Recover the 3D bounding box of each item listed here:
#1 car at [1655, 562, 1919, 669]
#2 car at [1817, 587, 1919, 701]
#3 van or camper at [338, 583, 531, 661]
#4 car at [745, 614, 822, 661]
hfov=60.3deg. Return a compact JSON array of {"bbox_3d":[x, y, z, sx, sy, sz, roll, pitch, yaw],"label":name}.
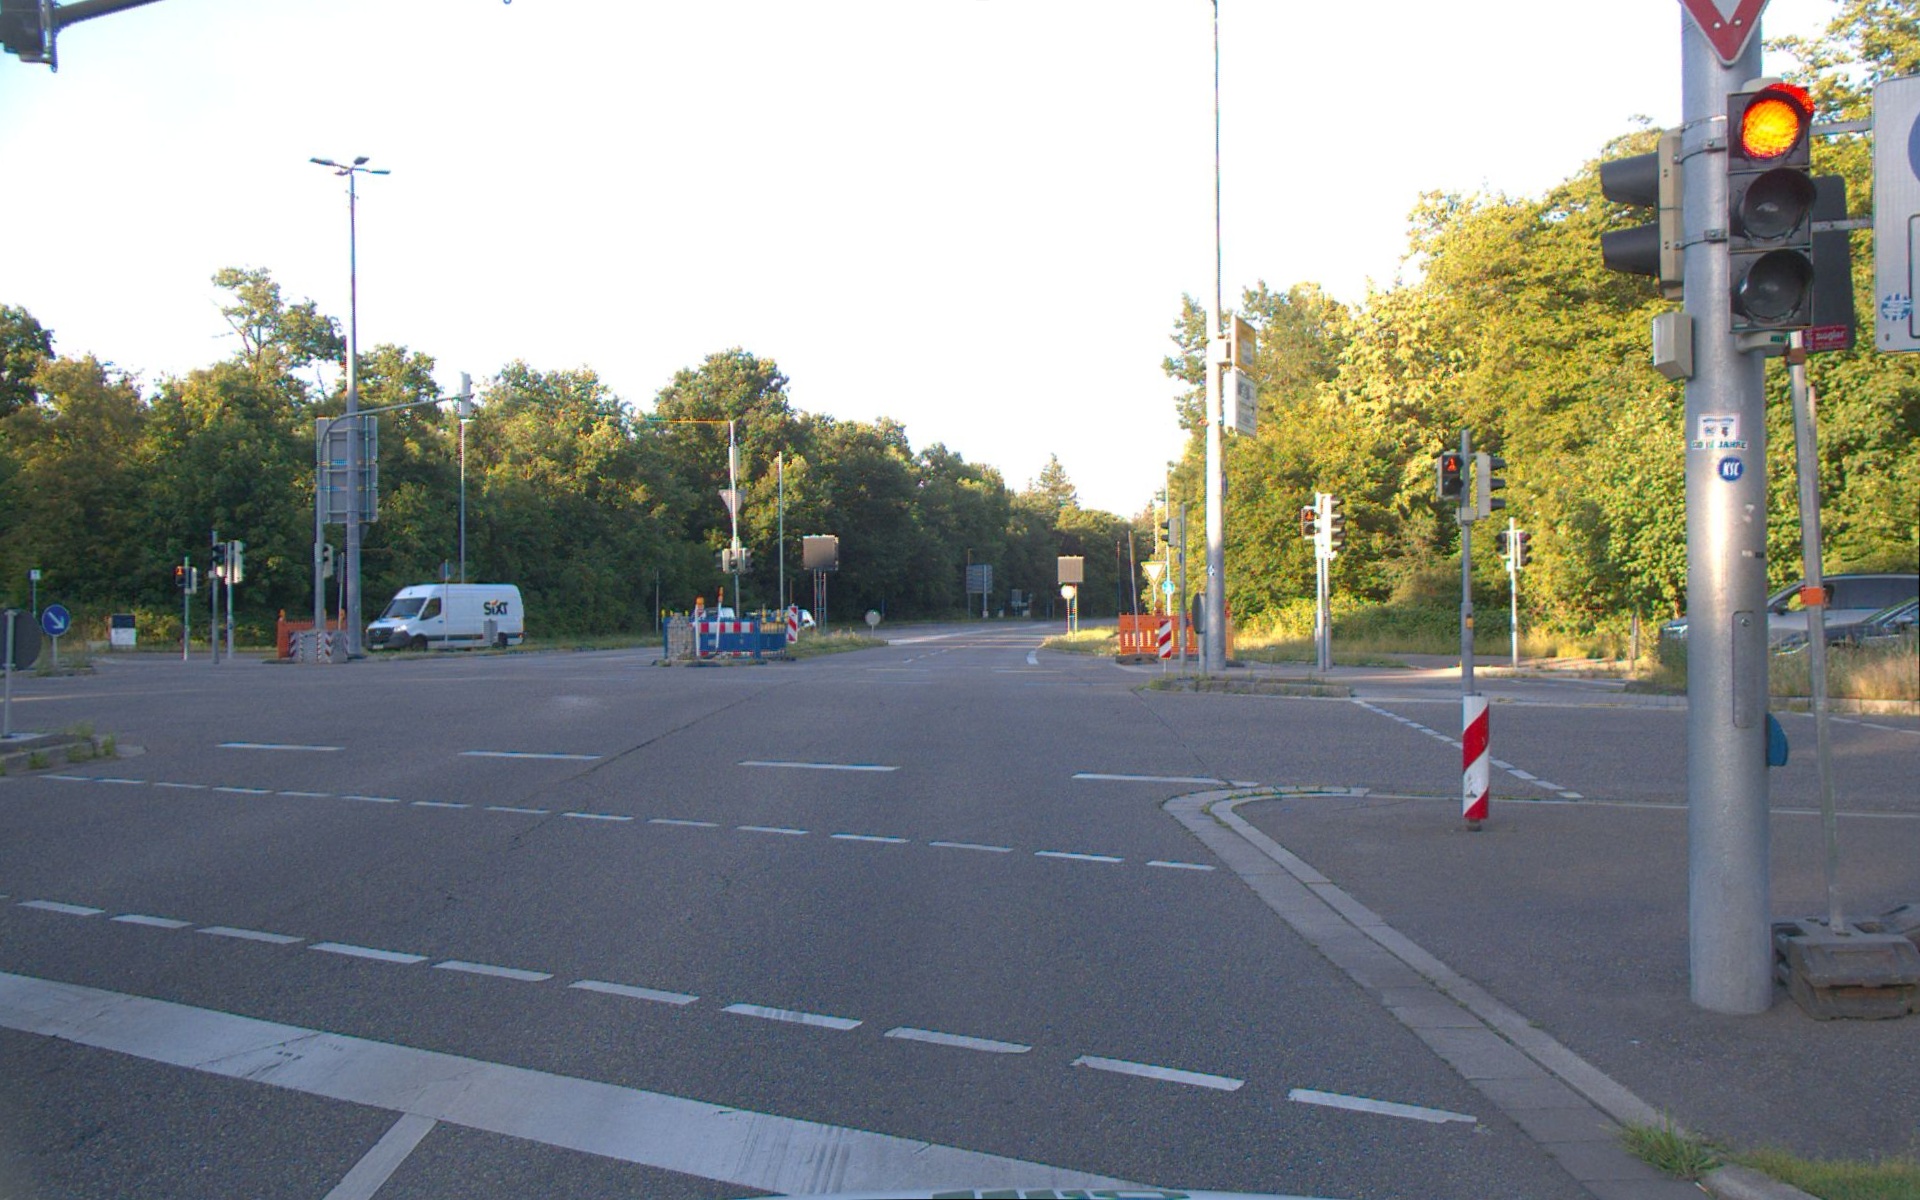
[{"bbox_3d":[13.745,0.245,26.492,4.716,1.626,2.000,-1,0,21],"label":"car"},{"bbox_3d":[13.835,0.573,22.395,3.783,1.515,1.771,0,0,22],"label":"car"},{"bbox_3d":[-19.256,0.767,61.081,2.827,2.699,7.119,0,0,24],"label":"van or camper"},{"bbox_3d":[-7.121,1.495,67.142,1.951,1.668,4.004,-2,1,11],"label":"car"}]
